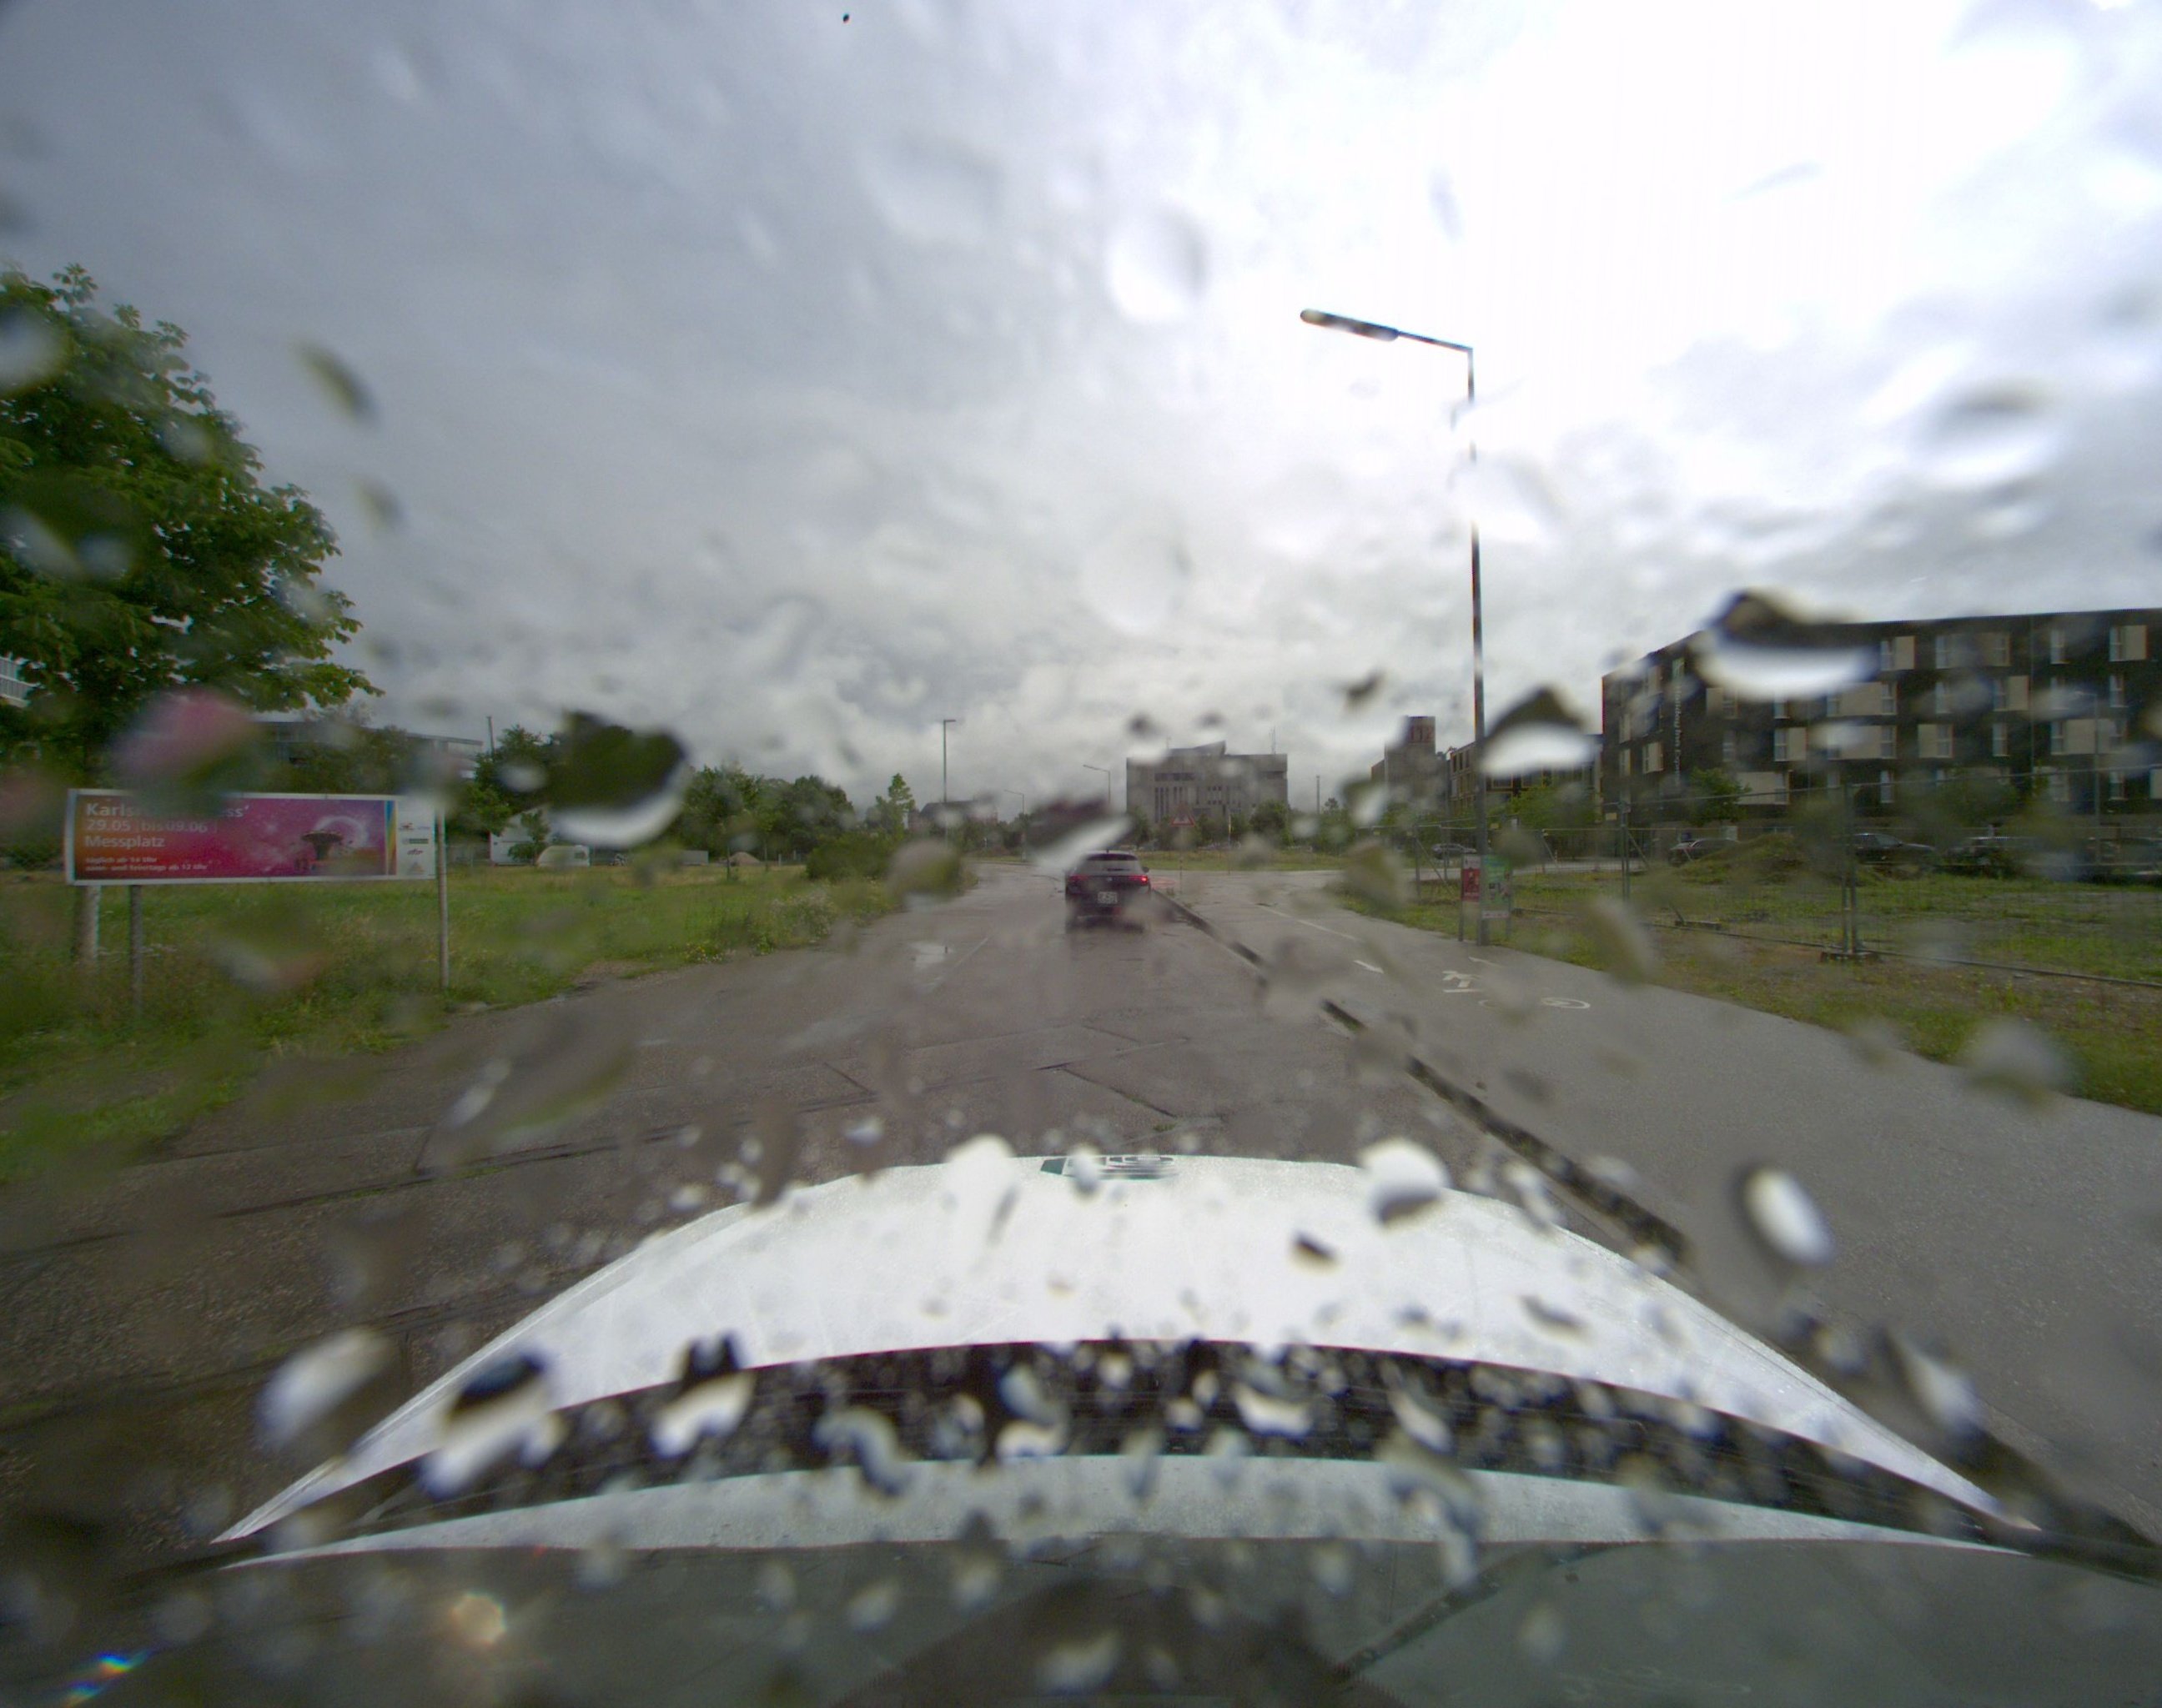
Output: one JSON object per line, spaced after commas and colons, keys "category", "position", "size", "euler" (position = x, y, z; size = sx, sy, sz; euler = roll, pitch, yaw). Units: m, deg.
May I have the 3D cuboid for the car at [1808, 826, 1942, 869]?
{"category": "car", "position": [36.347, -0.314, 37.390], "size": [3.966, 1.727, 2.004], "euler": [3, 1, 6]}

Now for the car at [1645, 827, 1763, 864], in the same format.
{"category": "car", "position": [29.361, -0.388, 38.496], "size": [3.966, 1.618, 2.003], "euler": [-1, -2, 6]}

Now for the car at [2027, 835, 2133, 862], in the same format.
{"category": "car", "position": [54.752, -0.262, 44.747], "size": [1.628, 1.396, 3.792], "euler": [1, 0, 10]}

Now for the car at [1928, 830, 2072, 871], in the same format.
{"category": "car", "position": [41.548, -0.188, 36.916], "size": [3.966, 1.641, 2.004], "euler": [3, 1, 6]}

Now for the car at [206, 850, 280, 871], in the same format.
{"category": "car", "position": [-72.288, 0.562, 70.328], "size": [4.013, 1.684, 1.981], "euler": [-1, 0, -31]}

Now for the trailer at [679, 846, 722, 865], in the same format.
{"category": "trailer", "position": [-41.778, 0.159, 89.436], "size": [4.126, 2.089, 1.826], "euler": [1, -1, -31]}

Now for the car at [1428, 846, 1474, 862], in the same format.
{"category": "car", "position": [39.411, 0.000, 86.882], "size": [4.175, 1.557, 1.673], "euler": [-2, 0, 13]}

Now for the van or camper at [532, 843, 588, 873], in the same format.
{"category": "van or camper", "position": [-52.510, 0.370, 82.210], "size": [4.527, 2.945, 2.461], "euler": [-1, 0, -29]}

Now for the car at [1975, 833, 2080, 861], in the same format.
{"category": "car", "position": [52.459, -0.395, 45.244], "size": [1.752, 1.395, 3.818], "euler": [3, 1, 10]}

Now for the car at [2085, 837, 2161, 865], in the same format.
{"category": "car", "position": [57.485, -0.164, 44.132], "size": [1.769, 1.395, 3.853], "euler": [3, 1, 10]}

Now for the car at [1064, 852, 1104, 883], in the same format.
{"category": "car", "position": [0.114, 0.649, 42.417], "size": [1.837, 1.442, 3.996], "euler": [-3, 1, -2]}

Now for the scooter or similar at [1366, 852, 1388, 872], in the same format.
{"category": "scooter or similar", "position": [18.199, 0.474, 50.045], "size": [1.284, 1.187, 0.500], "euler": [-2, 2, -20]}

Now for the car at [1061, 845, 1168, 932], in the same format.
{"category": "car", "position": [0.612, 0.657, 17.958], "size": [1.982, 1.520, 3.998], "euler": [-5, 1, -2]}
